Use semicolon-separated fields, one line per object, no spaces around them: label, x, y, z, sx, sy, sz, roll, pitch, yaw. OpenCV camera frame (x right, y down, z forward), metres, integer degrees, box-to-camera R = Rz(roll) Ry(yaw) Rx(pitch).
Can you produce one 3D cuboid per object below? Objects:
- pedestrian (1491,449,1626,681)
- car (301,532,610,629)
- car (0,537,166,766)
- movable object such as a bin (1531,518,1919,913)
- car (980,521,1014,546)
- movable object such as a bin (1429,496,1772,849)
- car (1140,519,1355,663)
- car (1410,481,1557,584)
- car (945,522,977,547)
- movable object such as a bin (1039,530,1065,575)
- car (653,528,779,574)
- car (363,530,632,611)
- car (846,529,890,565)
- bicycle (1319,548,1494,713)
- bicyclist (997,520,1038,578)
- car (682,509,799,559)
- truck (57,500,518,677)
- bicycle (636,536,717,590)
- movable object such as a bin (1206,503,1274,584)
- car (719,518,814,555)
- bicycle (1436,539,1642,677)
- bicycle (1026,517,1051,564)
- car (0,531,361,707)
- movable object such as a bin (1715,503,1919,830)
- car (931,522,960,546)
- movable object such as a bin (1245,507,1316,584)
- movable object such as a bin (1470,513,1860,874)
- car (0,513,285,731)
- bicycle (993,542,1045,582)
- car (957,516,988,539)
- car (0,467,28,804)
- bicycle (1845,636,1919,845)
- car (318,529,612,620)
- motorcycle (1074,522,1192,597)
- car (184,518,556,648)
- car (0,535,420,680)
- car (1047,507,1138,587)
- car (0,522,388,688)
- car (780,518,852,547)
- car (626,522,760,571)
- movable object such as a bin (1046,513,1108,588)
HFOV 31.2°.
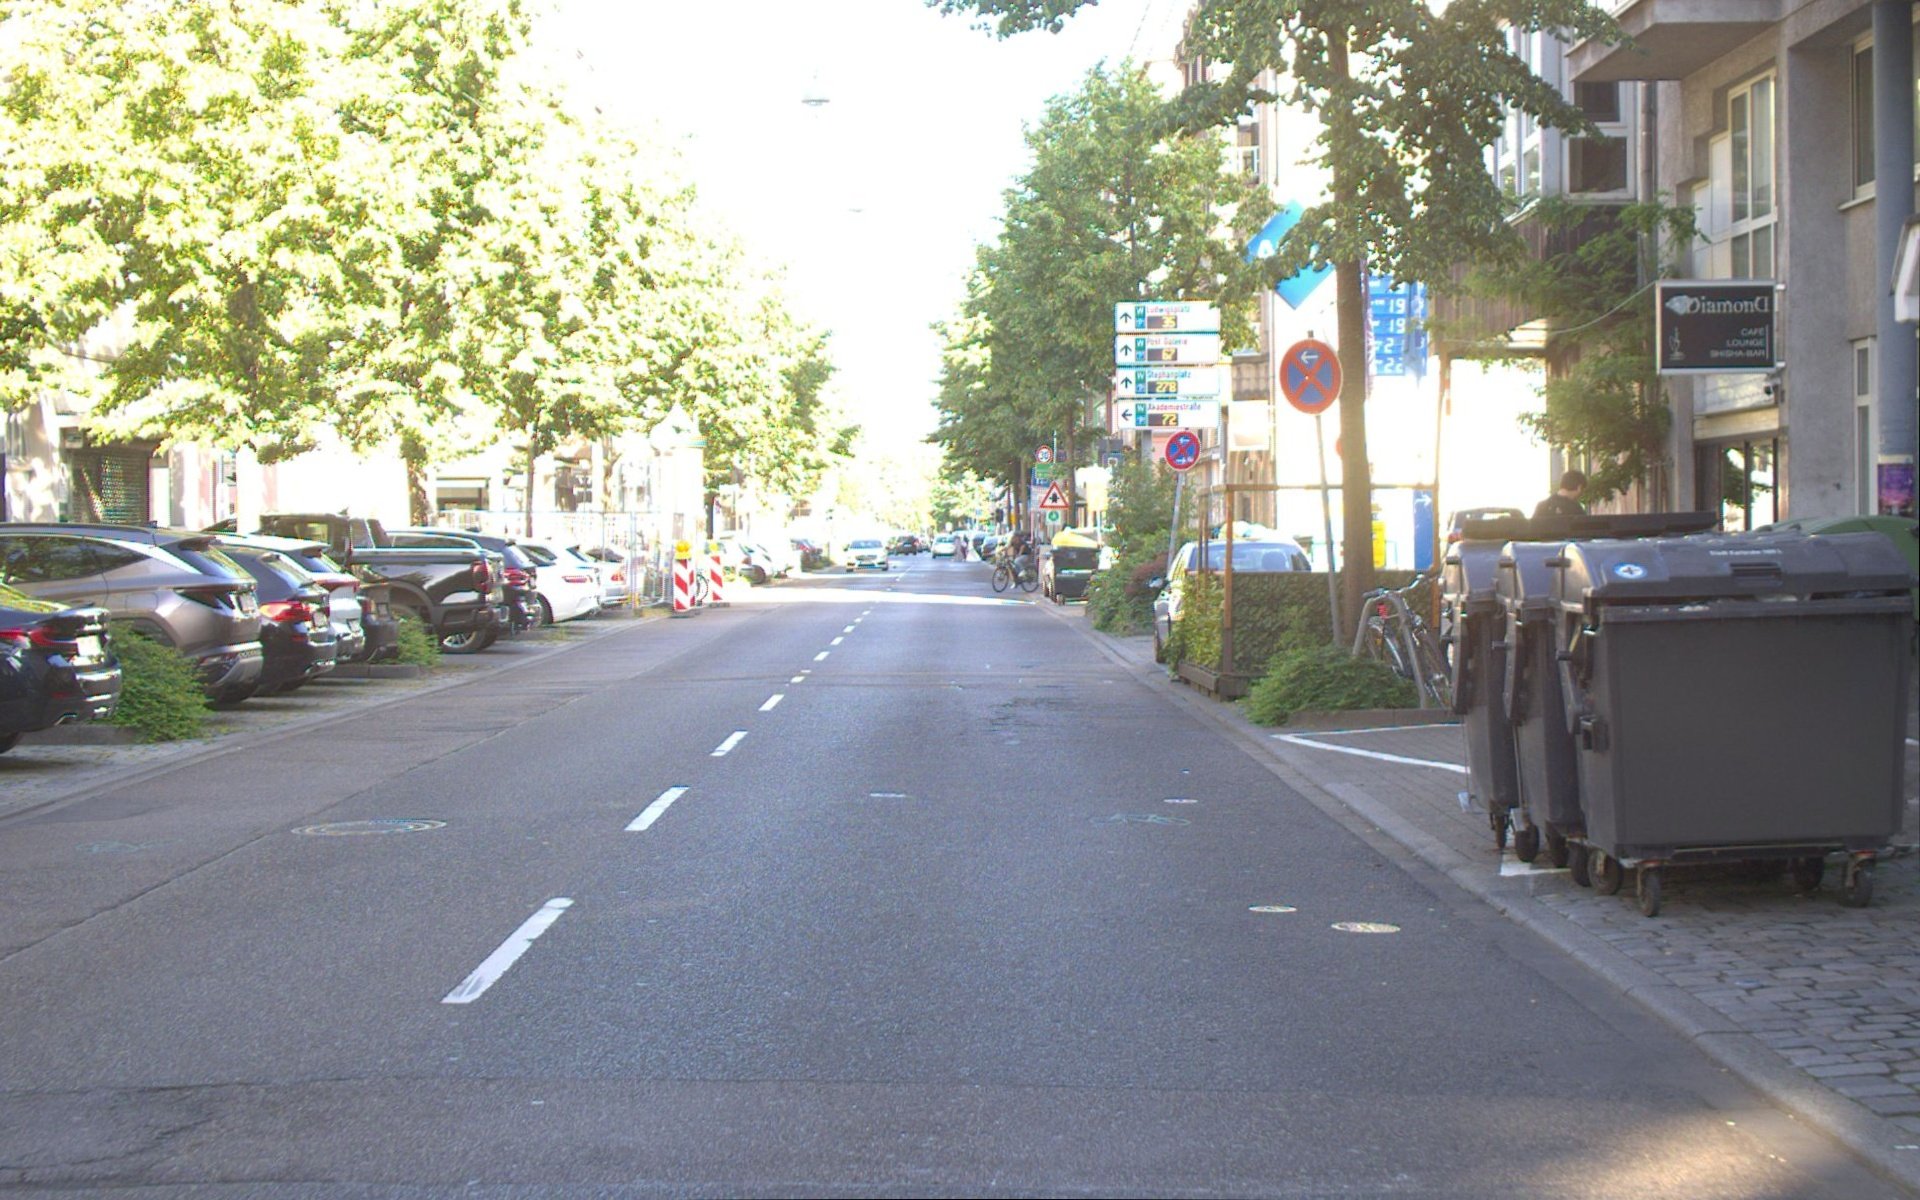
pedestrian;5.062;-0.299;29.051;0.926;1.929;0.760;-1;1;25
car;-7.958;-0.326;54.557;4.680;1.460;1.808;-1;1;-3
car;-7.787;0.331;22.779;4.645;1.454;1.684;0;1;0
movable object such as a bin;3.050;0.422;13.496;1.399;1.449;1.146;-1;1;0
car;2.257;-4.054;211.203;1.993;1.503;4.000;0;1;-1
movable object such as a bin;2.921;0.308;15.822;1.330;1.537;1.146;-1;1;0
car;3.129;-0.150;38.222;1.901;1.407;4.647;-3;1;0
car;8.968;-1.170;59.188;1.901;1.642;4.293;-2;1;1
car;0.053;-3.982;209.116;1.822;1.386;4.301;-4;1;-1
movable object such as a bin;2.429;-1.269;91.134;0.621;1.175;0.712;-1;1;-2
car;-7.932;-1.599;112.086;3.987;1.385;2.000;-1;2;-1
car;-8.347;-0.549;62.312;4.680;1.407;1.808;-1;1;-3
car;-4.010;-2.338;150.107;1.802;1.430;4.410;-3;1;-1
bicycle;3.357;0.209;26.028;0.607;1.116;2.056;-8;2;-9
bicyclist;1.585;-1.406;94.439;0.767;1.555;1.039;-1;1;22
car;-7.965;-2.403;124.984;3.987;1.688;2.000;-1;2;5
truck;-7.989;-0.162;41.208;5.084;1.931;2.000;-2;1;-1
bicycle;-6.614;-0.868;80.148;1.854;1.248;0.600;0;1;-7
movable object such as a bin;5.811;-1.185;71.433;1.205;1.622;1.498;-2;1;-2
car;-8.299;-2.733;147.755;3.987;1.494;2.000;-1;2;-1
bicycle;5.012;0.062;29.812;0.680;1.145;1.684;-2;2;-42
bicycle;2.510;-1.908;110.174;0.560;1.436;1.628;-7;2;0
car;-7.917;0.158;30.970;4.680;1.514;1.808;0;1;1
movable object such as a bin;4.170;0.276;15.820;1.077;1.426;1.295;-1;1;0
car;-0.940;-4.240;220.414;1.792;1.406;4.000;-1;2;0
movable object such as a bin;6.525;-1.120;70.064;1.270;1.525;1.177;-2;1;-2
movable object such as a bin;2.975;0.369;14.658;1.399;1.449;1.146;-1;1;0
car;-8.057;0.168;28.120;4.680;1.706;1.808;0;1;1
bicycle;1.637;-1.051;94.527;0.767;1.055;1.953;-1;2;22
car;0.854;-4.871;230.895;1.993;1.503;4.000;0;1;-1
car;-7.889;0.230;19.444;4.680;1.943;1.916;0;1;1
bicycle;4.444;0.587;14.317;0.568;0.869;1.642;-2;0;-23
car;-8.194;-0.439;57.244;4.680;1.460;1.808;-1;1;-3
motorcycle;3.199;-0.755;63.681;1.977;1.325;0.912;-2;2;-12
car;-7.927;-0.242;46.469;4.680;1.687;1.808;0;1;1
car;-8.212;0.063;36.336;4.680;1.458;1.808;0;1;1
car;2.990;-1.223;78.329;1.822;1.673;4.601;-4;1;0
car;-8.178;0.036;34.052;4.680;1.566;1.808;0;1;1
car;-8.067;-3.799;192.653;3.987;1.494;2.000;-1;2;-1
car;-8.239;-1.657;106.296;3.987;1.385;2.000;-1;2;-1
movable object such as a bin;2.532;-1.068;74.016;1.143;1.556;1.459;-2;1;8
